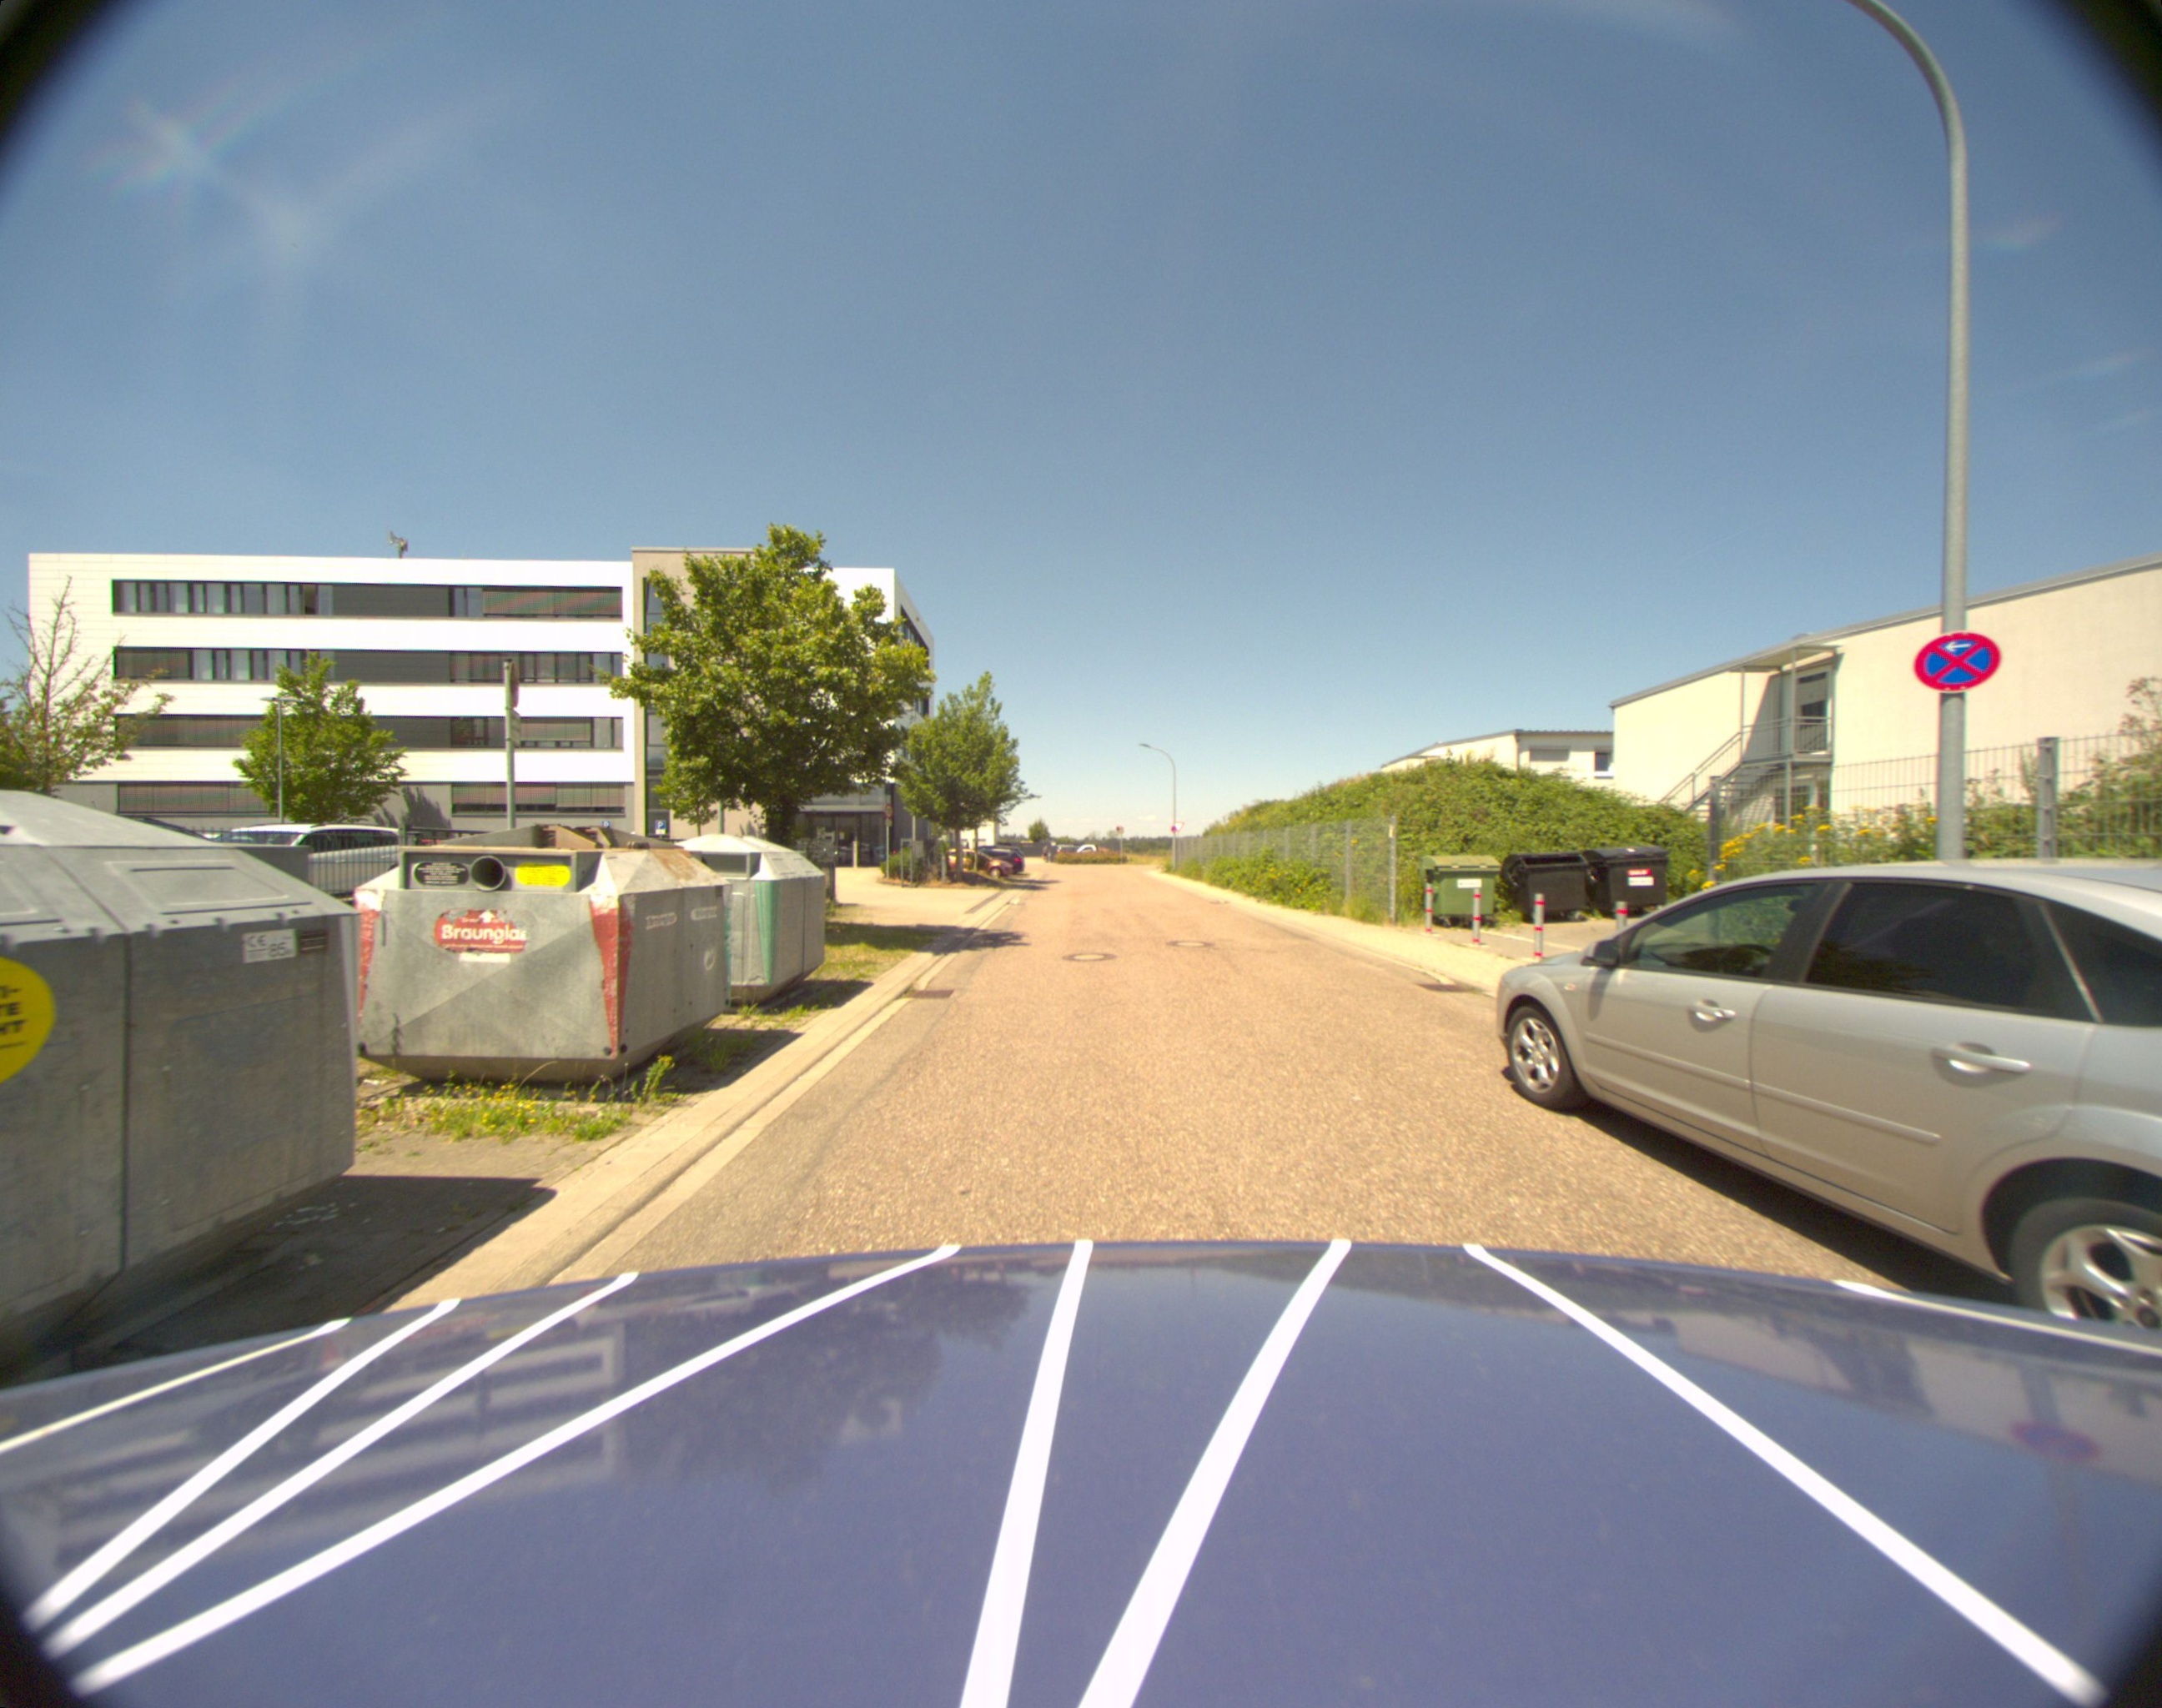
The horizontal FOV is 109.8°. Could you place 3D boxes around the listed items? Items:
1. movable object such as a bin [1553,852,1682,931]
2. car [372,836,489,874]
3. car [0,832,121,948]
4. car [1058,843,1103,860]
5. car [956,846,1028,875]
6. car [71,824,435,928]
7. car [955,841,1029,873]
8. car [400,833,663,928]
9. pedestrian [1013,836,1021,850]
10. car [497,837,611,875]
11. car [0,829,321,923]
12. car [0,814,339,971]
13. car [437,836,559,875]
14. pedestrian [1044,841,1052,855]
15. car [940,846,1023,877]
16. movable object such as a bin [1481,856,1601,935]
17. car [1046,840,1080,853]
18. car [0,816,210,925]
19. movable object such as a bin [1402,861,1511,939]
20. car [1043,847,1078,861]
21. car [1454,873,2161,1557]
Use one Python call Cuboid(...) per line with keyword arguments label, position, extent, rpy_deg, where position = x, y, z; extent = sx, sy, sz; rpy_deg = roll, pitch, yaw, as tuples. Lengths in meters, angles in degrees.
Cuboid(label="movable object such as a bin", position=(11.005, 0.721, 15.698), extent=(1.353, 1.456, 1.766), rpy_deg=(-4, 1, 0))
Cuboid(label="car", position=(-27.406, -0.015, 32.173), extent=(1.618, 1.487, 3.785), rpy_deg=(1, 2, 2))
Cuboid(label="car", position=(-14.674, 0.438, 8.974), extent=(1.650, 1.483, 4.023), rpy_deg=(0, -1, -3))
Cuboid(label="car", position=(-0.062, -0.226, 70.268), extent=(3.998, 1.532, 1.830), rpy_deg=(0, 1, -4))
Cuboid(label="car", position=(-4.784, 0.341, 41.355), extent=(3.722, 1.486, 1.781), rpy_deg=(1, 1, -3))
Cuboid(label="car", position=(-15.010, 0.261, 14.301), extent=(1.844, 1.644, 4.647), rpy_deg=(0, 2, -3))
Cuboid(label="car", position=(-5.141, 0.173, 44.140), extent=(3.996, 1.755, 1.725), rpy_deg=(1, 1, 2))
Cuboid(label="car", position=(-9.806, 0.356, 14.096), extent=(1.794, 1.447, 4.406), rpy_deg=(0, 2, -3))
Cuboid(label="pedestrian", position=(-7.542, -1.264, 89.441), extent=(0.775, 1.620, 0.620), rpy_deg=(0, 2, -16))
Cuboid(label="car", position=(-22.055, 0.033, 32.028), extent=(1.809, 1.452, 4.223), rpy_deg=(1, 2, 2))
Cuboid(label="car", position=(-17.275, 0.261, 14.059), extent=(1.844, 1.425, 4.647), rpy_deg=(0, 2, -3))
Cuboid(label="car", position=(-12.066, 0.432, 9.363), extent=(1.794, 1.613, 4.241), rpy_deg=(0, -1, -3))
Cuboid(label="car", position=(-24.609, 0.012, 32.295), extent=(1.809, 1.521, 4.223), rpy_deg=(1, 2, 2))
Cuboid(label="pedestrian", position=(-3.812, -0.683, 86.747), extent=(0.830, 1.673, 0.711), rpy_deg=(1, 1, -10))
Cuboid(label="car", position=(-5.006, 0.361, 38.641), extent=(3.998, 1.486, 1.724), rpy_deg=(1, 1, -3))
Cuboid(label="movable object such as a bin", position=(9.498, 0.818, 15.798), extent=(1.353, 1.456, 1.766), rpy_deg=(-4, 1, 0))
Cuboid(label="car", position=(-2.146, -0.868, 90.065), extent=(3.998, 1.596, 1.676), rpy_deg=(0, 1, -4))
Cuboid(label="car", position=(-19.777, 0.246, 14.162), extent=(1.917, 1.889, 4.513), rpy_deg=(0, 2, -3))
Cuboid(label="movable object such as a bin", position=(7.593, 0.897, 15.512), extent=(1.307, 1.468, 1.838), rpy_deg=(0, 1, 0))
Cuboid(label="car", position=(-2.414, 0.042, 88.039), extent=(3.998, 1.596, 1.676), rpy_deg=(0, 0, -4))
Cuboid(label="car", position=(3.544, 0.933, 3.134), extent=(1.838, 1.537, 4.366), rpy_deg=(1, 1, 0))
